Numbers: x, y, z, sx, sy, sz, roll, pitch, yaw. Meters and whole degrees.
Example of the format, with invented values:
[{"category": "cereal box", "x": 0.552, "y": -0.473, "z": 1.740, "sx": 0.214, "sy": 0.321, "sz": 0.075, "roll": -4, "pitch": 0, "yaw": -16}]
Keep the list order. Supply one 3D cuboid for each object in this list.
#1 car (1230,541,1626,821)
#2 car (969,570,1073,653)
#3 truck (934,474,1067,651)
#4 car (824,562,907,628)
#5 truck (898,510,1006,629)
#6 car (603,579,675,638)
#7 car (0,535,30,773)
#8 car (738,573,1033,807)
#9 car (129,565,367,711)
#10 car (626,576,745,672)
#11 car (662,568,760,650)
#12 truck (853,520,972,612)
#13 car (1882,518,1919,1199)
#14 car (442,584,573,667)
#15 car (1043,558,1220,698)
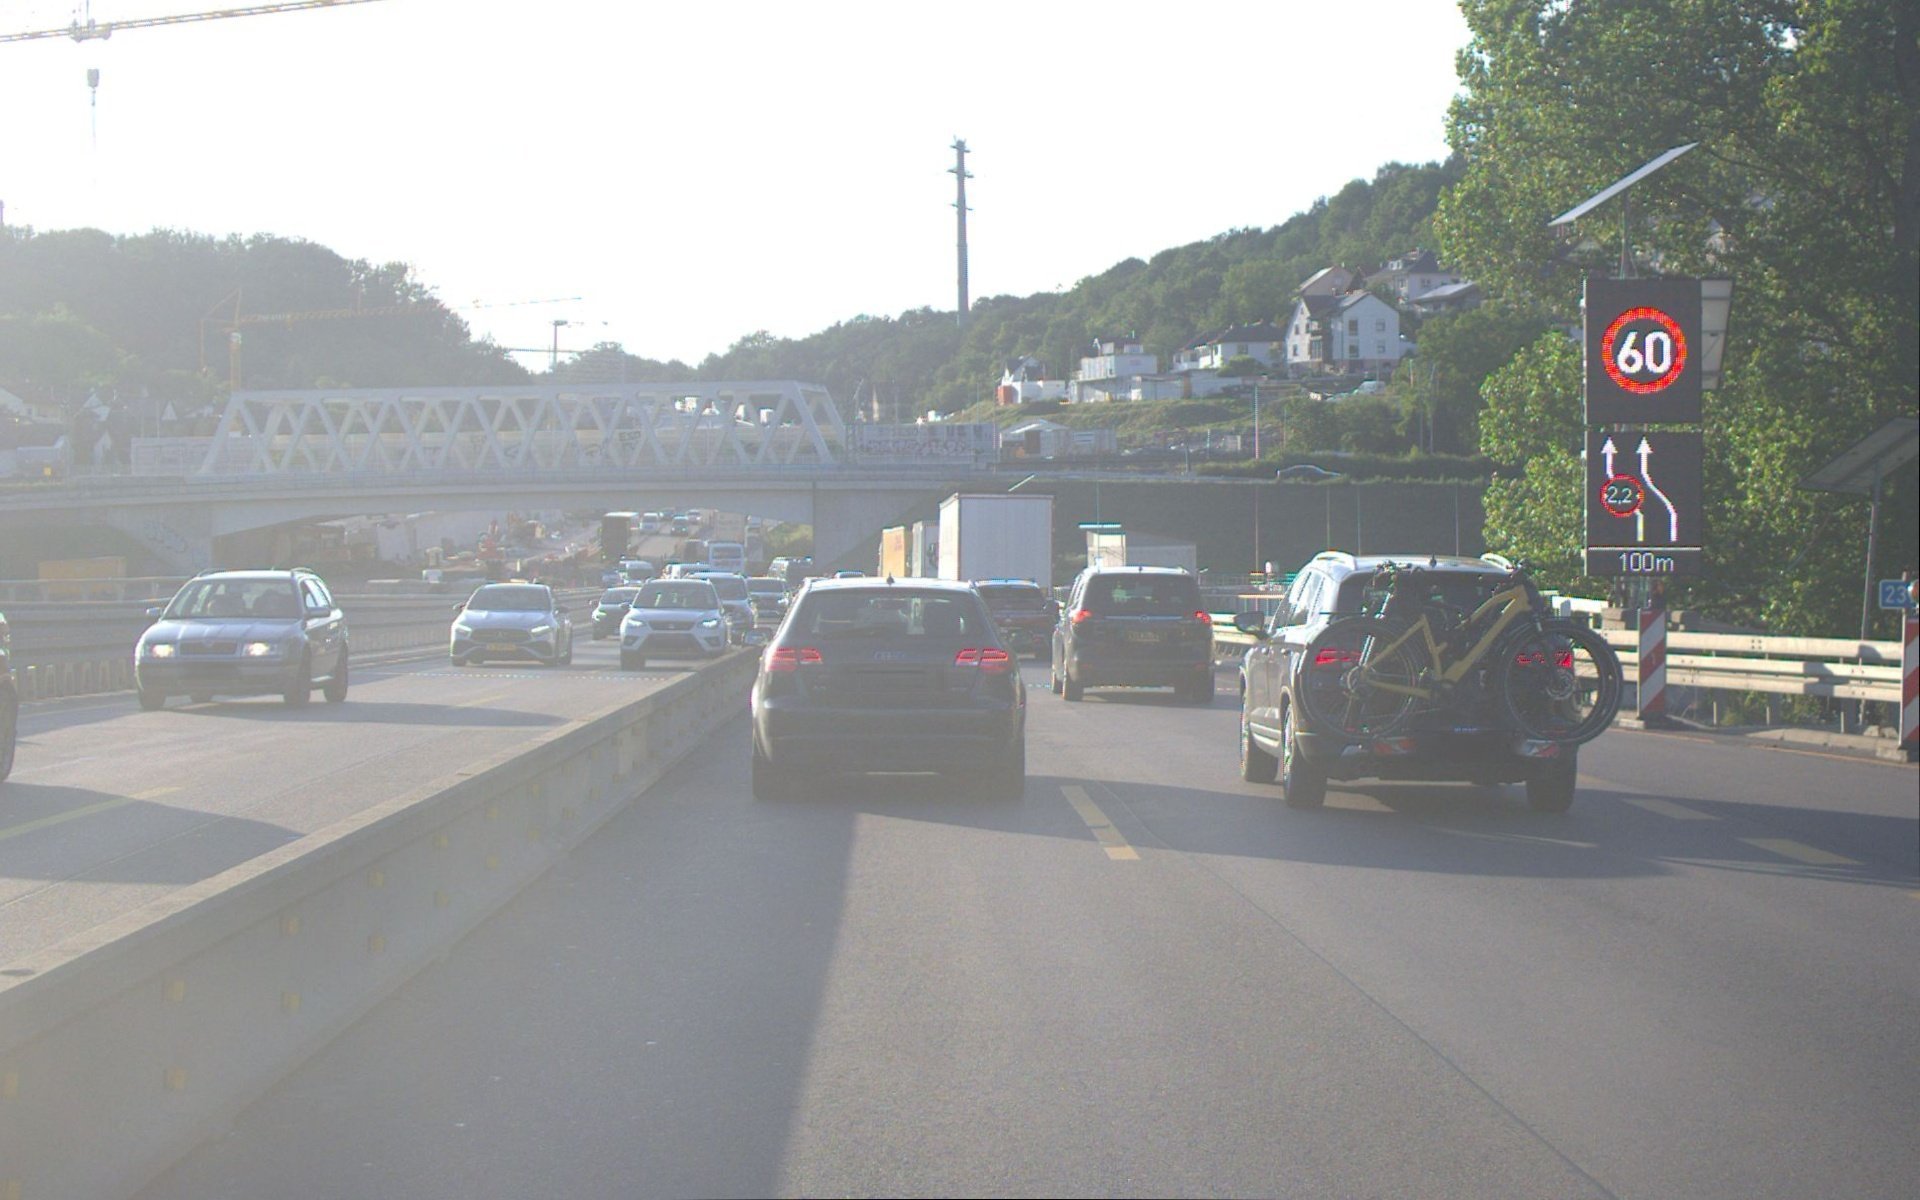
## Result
[{"category": "car", "x": 2.856, "y": 0.448, "z": 22.031, "sx": 1.875, "sy": 1.594, "sz": 4.966, "roll": 0, "pitch": 0, "yaw": 0}, {"category": "car", "x": 1.192, "y": 0.208, "z": 68.907, "sx": 1.770, "sy": 1.547, "sz": 4.001, "roll": 2, "pitch": 0, "yaw": -3}, {"category": "truck", "x": 0.999, "y": -1.266, "z": 97.265, "sx": 3.385, "sy": 4.482, "sz": 15.269, "roll": 1, "pitch": 2, "yaw": 0}, {"category": "car", "x": -2.246, "y": -0.132, "z": 80.891, "sx": 1.765, "sy": 1.481, "sz": 4.001, "roll": 1, "pitch": 1, "yaw": -4}, {"category": "truck", "x": -0.437, "y": -1.362, "z": 138.573, "sx": 3.890, "sy": 4.483, "sz": 15.269, "roll": 1, "pitch": 1, "yaw": -2}, {"category": "car", "x": -8.874, "y": 0.216, "z": 95.289, "sx": 1.710, "sy": 1.546, "sz": 4.000, "roll": -1, "pitch": 1, "yaw": -1}, {"category": "car", "x": -7.183, "y": 0.384, "z": 21.403, "sx": 1.780, "sy": 1.565, "sz": 4.000, "roll": 0, "pitch": 1, "yaw": -1}, {"category": "car", "x": -0.558, "y": 0.533, "z": 22.909, "sx": 1.770, "sy": 1.385, "sz": 4.001, "roll": 1, "pitch": 1, "yaw": -3}, {"category": "car", "x": -7.611, "y": 0.359, "z": 37.132, "sx": 1.677, "sy": 1.418, "sz": 4.579, "roll": 1, "pitch": 1, "yaw": -1}, {"category": "car", "x": -4.588, "y": 0.377, "z": 57.823, "sx": 1.804, "sy": 1.506, "sz": 4.000, "roll": 0, "pitch": 1, "yaw": -2}, {"category": "car", "x": -5.518, "y": 0.181, "z": 76.726, "sx": 1.993, "sy": 1.752, "sz": 4.661, "roll": 0, "pitch": 0, "yaw": -2}, {"category": "truck", "x": -2.584, "y": -1.868, "z": 178.448, "sx": 3.889, "sy": 4.483, "sz": 13.852, "roll": 1, "pitch": 1, "yaw": -10}, {"category": "car", "x": 2.984, "y": 0.660, "z": 5.567, "sx": 1.774, "sy": 1.580, "sz": 4.135, "roll": 1, "pitch": 1, "yaw": -1}, {"category": "car", "x": -7.839, "y": 0.436, "z": 59.845, "sx": 1.774, "sy": 1.378, "sz": 4.532, "roll": 0, "pitch": 0, "yaw": -1}, {"category": "car", "x": 2.077, "y": 0.311, "z": 42.777, "sx": 1.814, "sy": 1.627, "sz": 4.411, "roll": 1, "pitch": 0, "yaw": -2}]
